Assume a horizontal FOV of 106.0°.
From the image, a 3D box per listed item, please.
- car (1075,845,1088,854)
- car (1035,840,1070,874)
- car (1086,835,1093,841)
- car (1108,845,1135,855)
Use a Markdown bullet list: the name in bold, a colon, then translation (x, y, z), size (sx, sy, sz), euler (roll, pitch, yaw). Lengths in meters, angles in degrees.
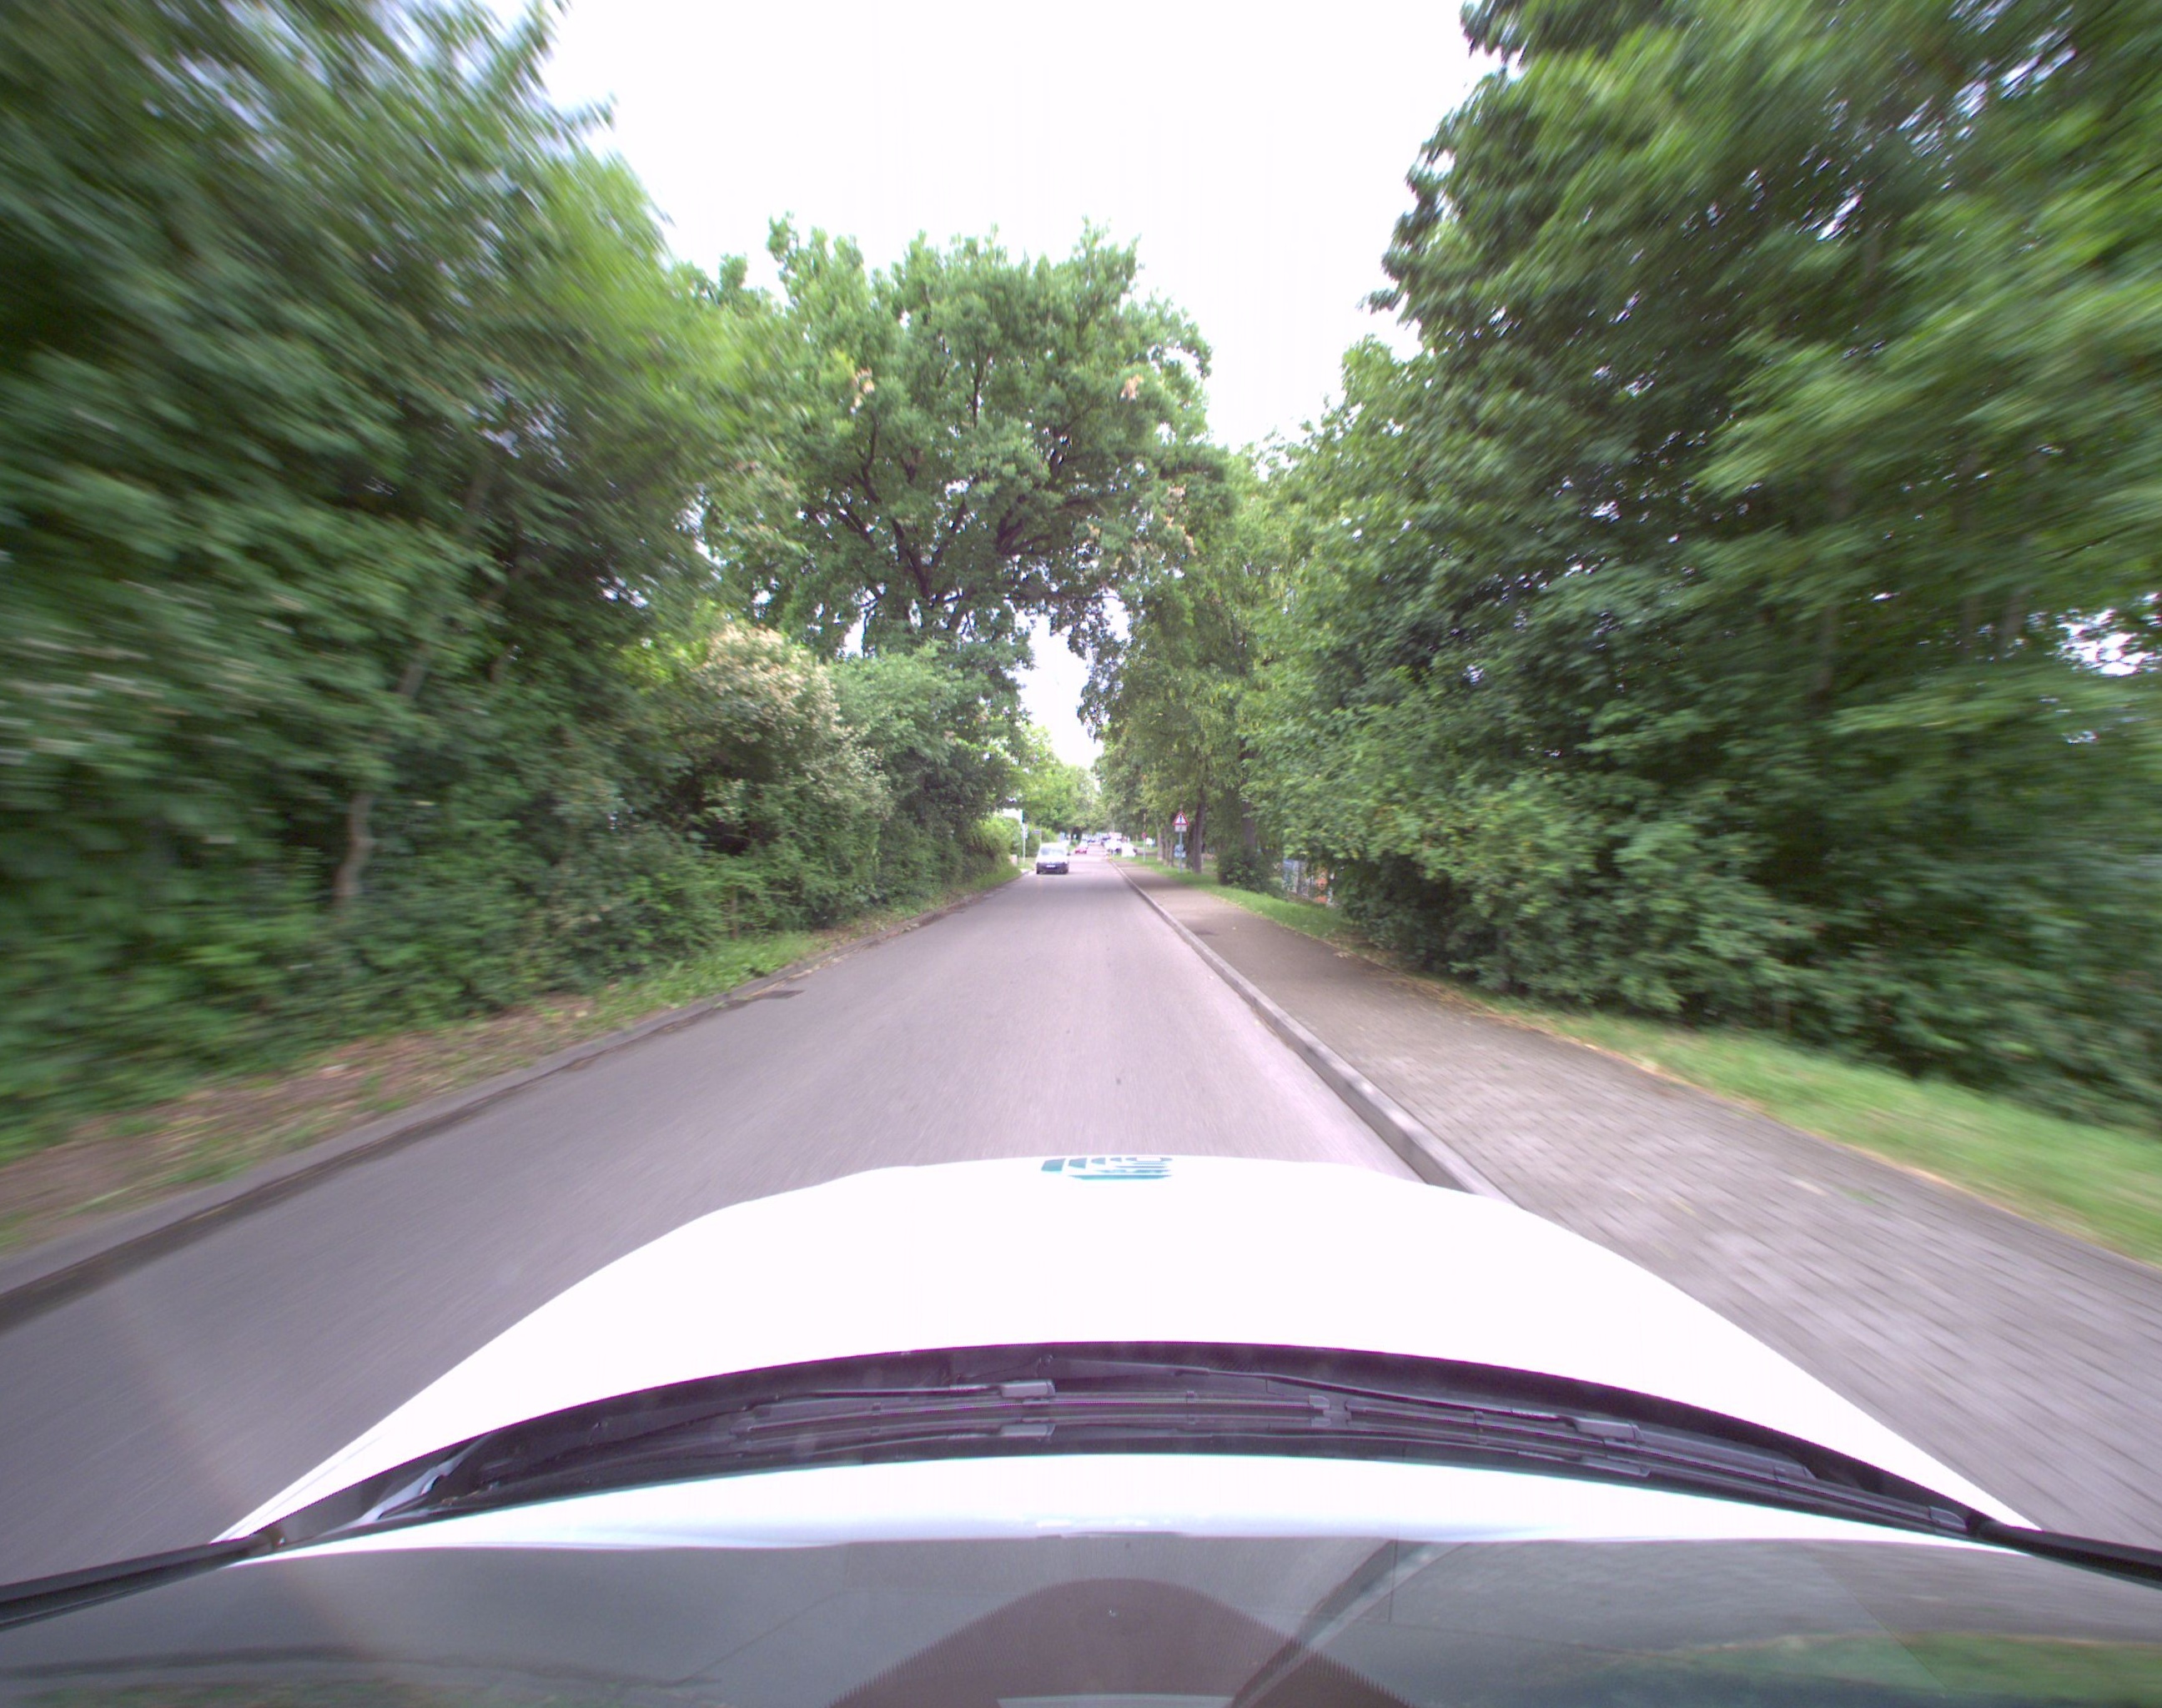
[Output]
- **car**: translation (0.065, -0.693, 125.342), size (1.748, 1.335, 4.058), euler (1, 1, -5)
- **car**: translation (-1.652, 0.174, 48.383), size (1.867, 1.913, 4.431), euler (-1, 0, 0)
- **car**: translation (2.619, -4.978, 255.807), size (1.962, 1.747, 4.338), euler (1, 1, 0)
- **car**: translation (6.155, -0.662, 123.312), size (4.050, 1.434, 1.999), euler (-1, -1, -1)
